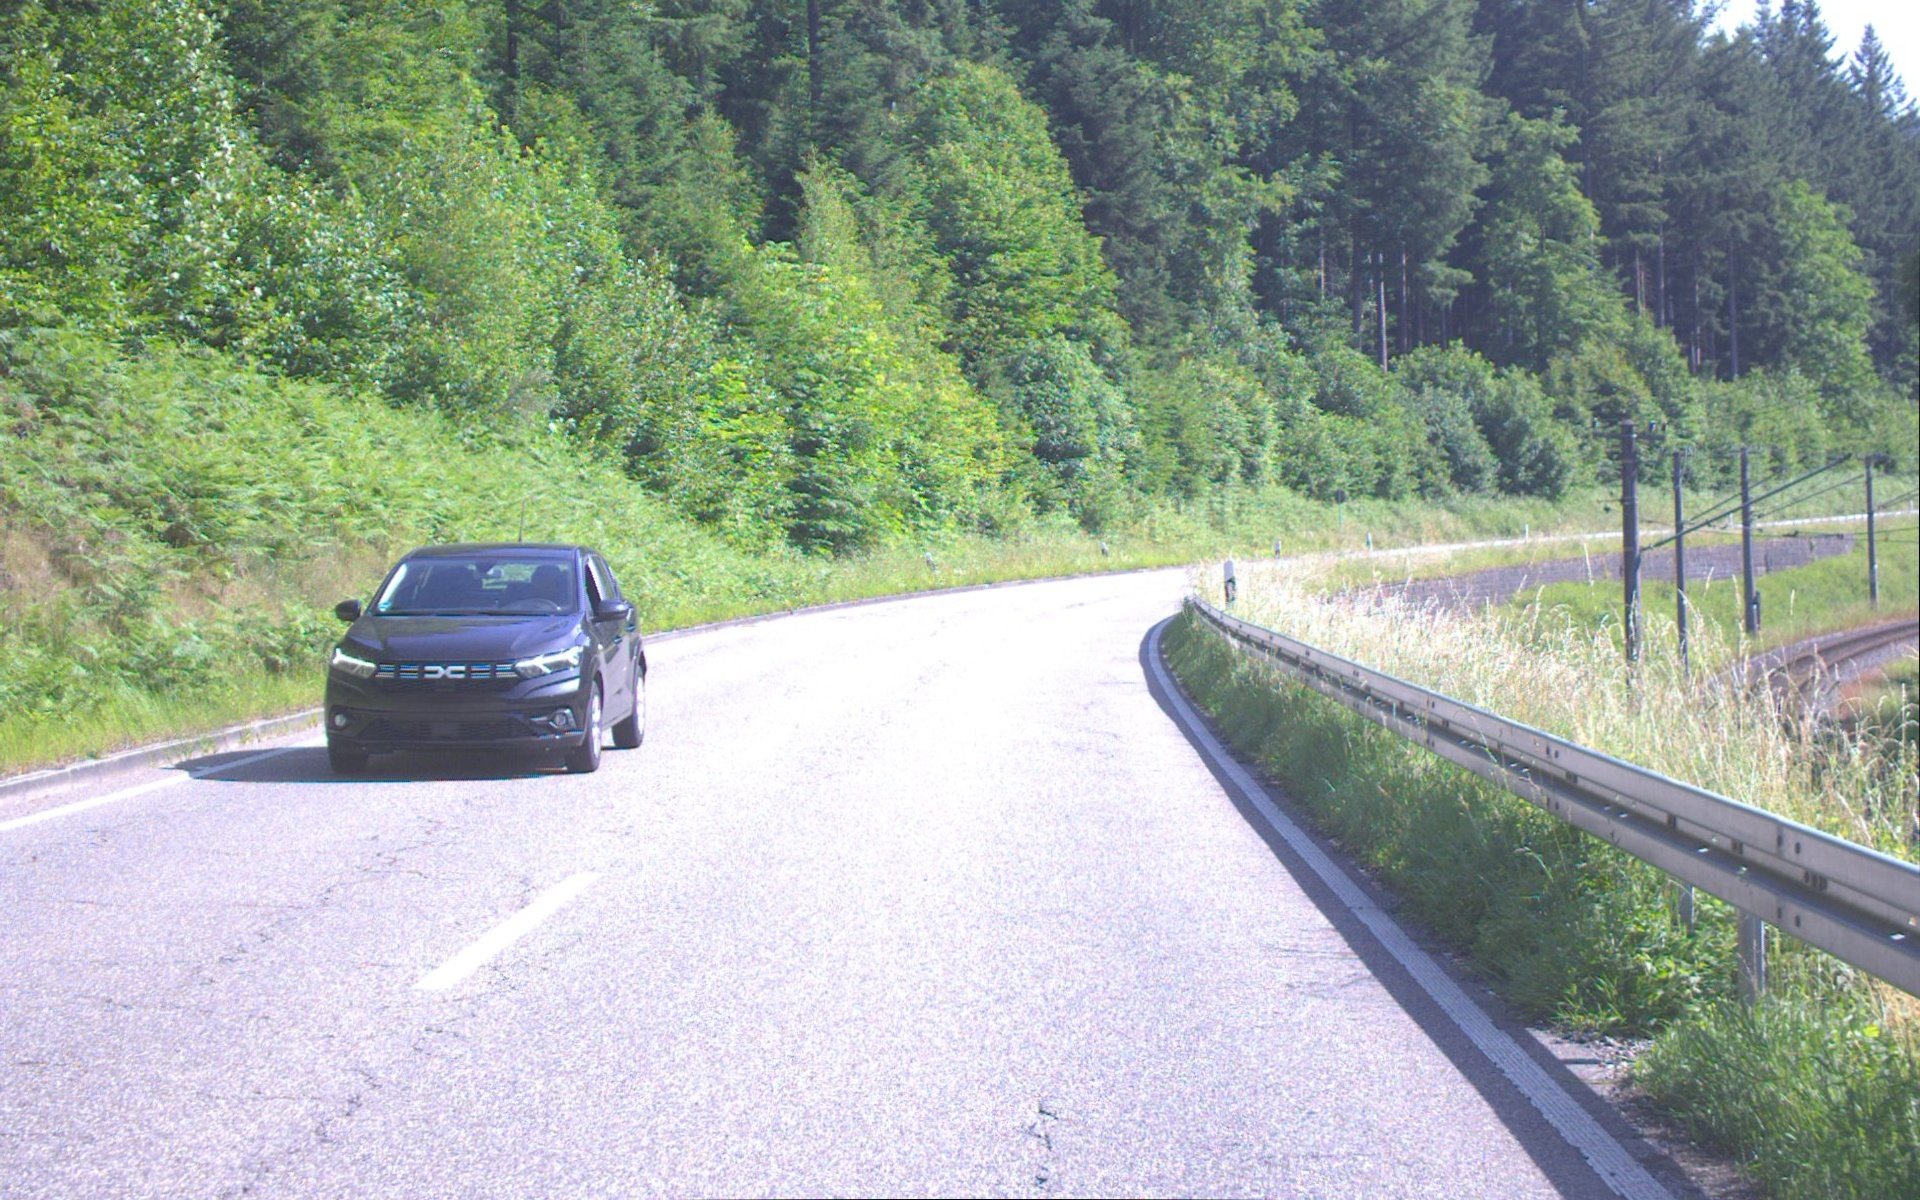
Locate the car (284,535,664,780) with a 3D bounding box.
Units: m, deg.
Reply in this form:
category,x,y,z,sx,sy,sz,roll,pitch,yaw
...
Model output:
category,x,y,z,sx,sy,sz,roll,pitch,yaw
car,-3.246,0.331,23.738,1.858,1.524,4.000,-1,1,3
